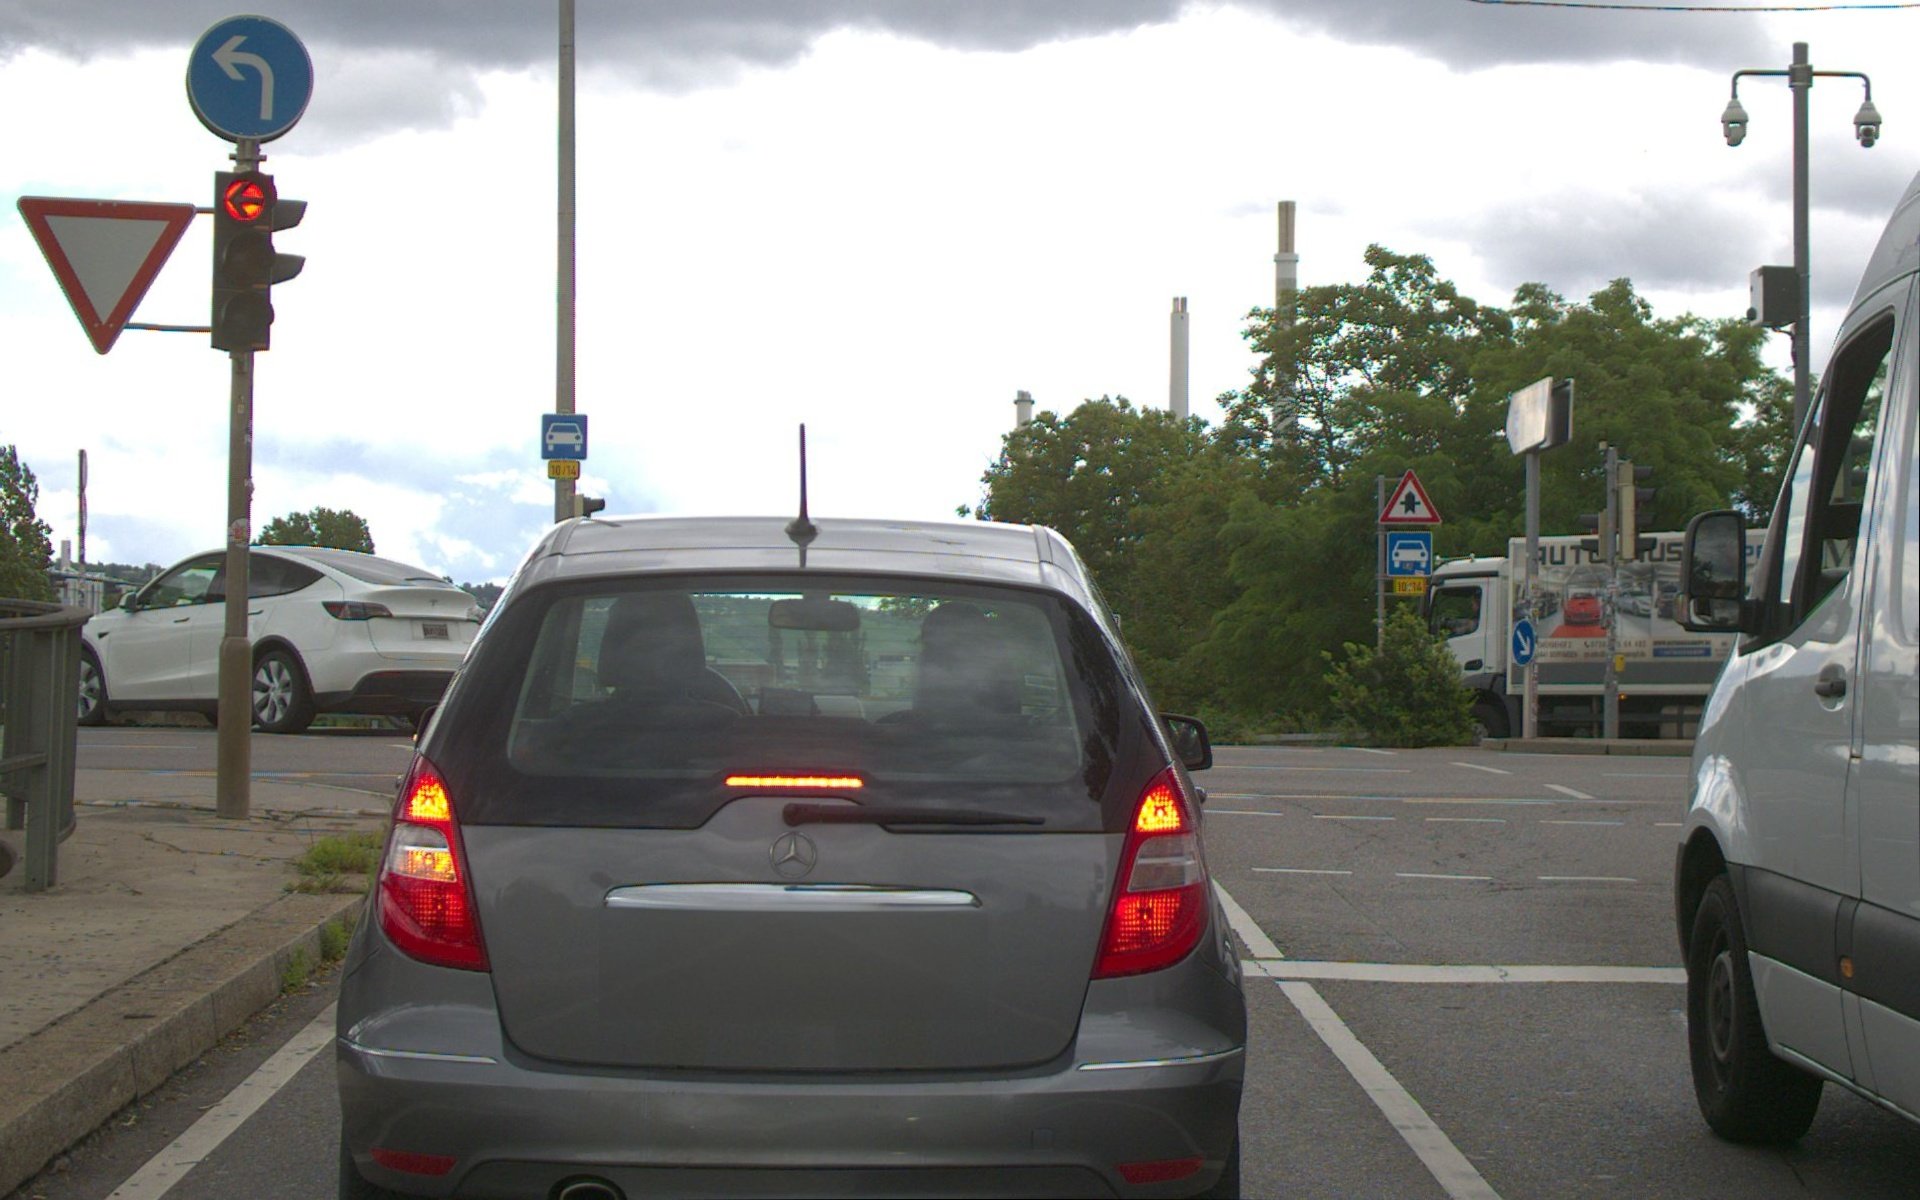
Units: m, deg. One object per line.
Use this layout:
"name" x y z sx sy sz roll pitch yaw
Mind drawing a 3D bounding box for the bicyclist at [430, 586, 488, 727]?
"bicyclist" -6.034 0.668 41.360 0.653 1.668 0.870 0 1 -11

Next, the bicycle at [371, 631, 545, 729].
"bicycle" -6.046 0.953 41.352 2.032 1.121 0.929 0 1 -11

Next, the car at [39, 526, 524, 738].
"car" -6.009 0.214 30.163 4.402 1.711 1.933 1 2 42

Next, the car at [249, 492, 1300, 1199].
"car" -0.281 0.546 8.084 1.858 1.582 4.000 0 2 2

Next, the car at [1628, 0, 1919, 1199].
"car" 2.960 0.024 6.260 2.110 2.774 6.780 0 1 0

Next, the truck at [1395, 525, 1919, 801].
"truck" 11.008 0.749 46.973 10.239 3.506 2.792 1 2 41
